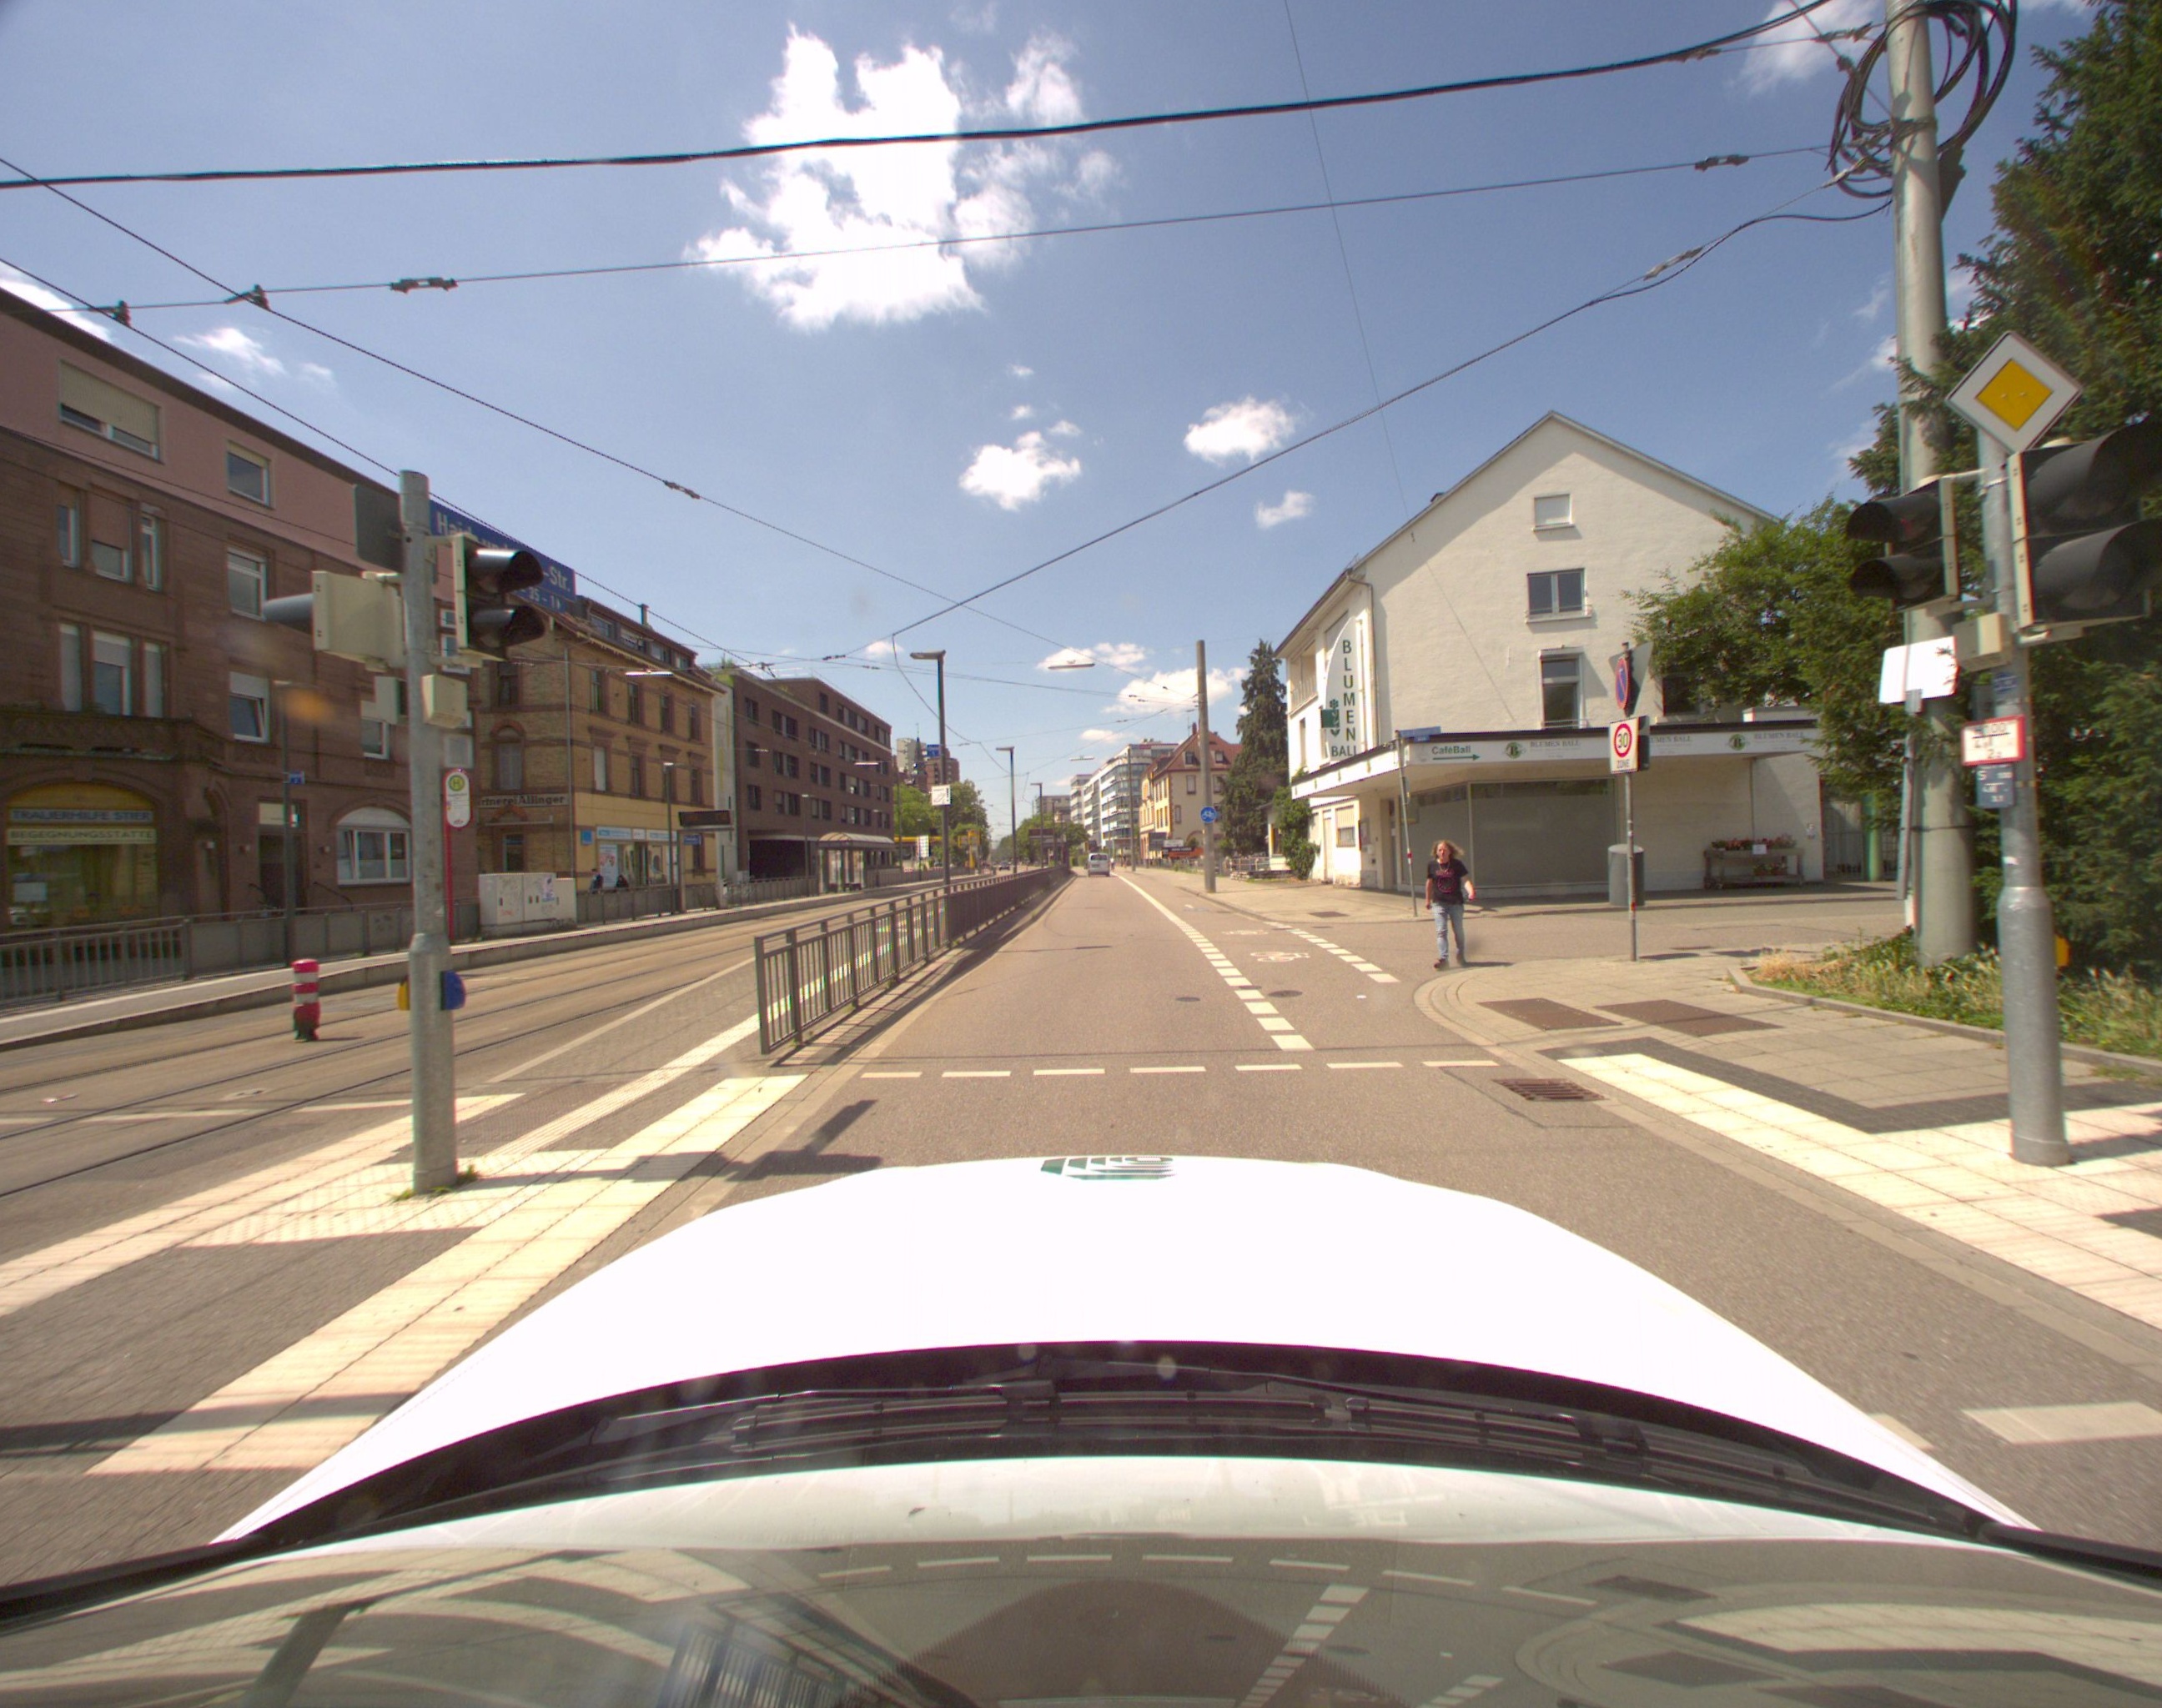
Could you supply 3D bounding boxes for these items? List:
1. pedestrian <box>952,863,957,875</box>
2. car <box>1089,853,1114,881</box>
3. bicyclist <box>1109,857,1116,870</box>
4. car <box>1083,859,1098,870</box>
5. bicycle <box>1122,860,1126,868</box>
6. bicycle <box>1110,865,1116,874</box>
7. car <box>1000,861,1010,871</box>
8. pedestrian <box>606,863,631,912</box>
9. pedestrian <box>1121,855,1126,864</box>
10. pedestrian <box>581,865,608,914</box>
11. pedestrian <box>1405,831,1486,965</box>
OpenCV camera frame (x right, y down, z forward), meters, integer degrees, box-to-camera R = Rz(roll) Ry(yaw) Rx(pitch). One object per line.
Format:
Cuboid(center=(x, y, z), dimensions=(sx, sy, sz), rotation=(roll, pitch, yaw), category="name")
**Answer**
Cuboid(center=(-15.812, 1.859, 101.918), dimensions=(0.434, 1.384, 0.536), rotation=(-4, -1, 1), category="pedestrian")
Cuboid(center=(1.612, 1.020, 64.664), dimensions=(1.747, 2.013, 3.999), rotation=(-3, 0, 0), category="car")
Cuboid(center=(3.577, 1.092, 92.334), dimensions=(0.590, 1.397, 0.840), rotation=(-2, 0, -4), category="bicyclist")
Cuboid(center=(1.513, 1.646, 131.838), dimensions=(1.860, 1.687, 4.993), rotation=(-3, 0, -4), category="car")
Cuboid(center=(5.290, 1.238, 100.456), dimensions=(0.355, 0.940, 1.318), rotation=(-4, -1, 2), category="bicycle")
Cuboid(center=(3.595, 1.754, 92.293), dimensions=(0.464, 0.887, 2.045), rotation=(-2, 0, -3), category="bicycle")
Cuboid(center=(-13.419, 2.141, 144.410), dimensions=(1.696, 1.616, 3.751), rotation=(-3, -1, -5), category="car")
Cuboid(center=(-19.571, 1.402, 34.475), dimensions=(0.675, 2.014, 0.684), rotation=(-1, -1, -1), category="pedestrian")
Cuboid(center=(5.233, 0.650, 100.468), dimensions=(0.481, 1.053, 0.537), rotation=(-4, -1, 1), category="pedestrian")
Cuboid(center=(-20.563, 1.493, 34.439), dimensions=(0.616, 2.013, 0.810), rotation=(-2, -1, -1), category="pedestrian")
Cuboid(center=(4.487, 0.531, 10.060), dimensions=(0.574, 1.556, 0.786), rotation=(-4, -1, 4), category="pedestrian")
